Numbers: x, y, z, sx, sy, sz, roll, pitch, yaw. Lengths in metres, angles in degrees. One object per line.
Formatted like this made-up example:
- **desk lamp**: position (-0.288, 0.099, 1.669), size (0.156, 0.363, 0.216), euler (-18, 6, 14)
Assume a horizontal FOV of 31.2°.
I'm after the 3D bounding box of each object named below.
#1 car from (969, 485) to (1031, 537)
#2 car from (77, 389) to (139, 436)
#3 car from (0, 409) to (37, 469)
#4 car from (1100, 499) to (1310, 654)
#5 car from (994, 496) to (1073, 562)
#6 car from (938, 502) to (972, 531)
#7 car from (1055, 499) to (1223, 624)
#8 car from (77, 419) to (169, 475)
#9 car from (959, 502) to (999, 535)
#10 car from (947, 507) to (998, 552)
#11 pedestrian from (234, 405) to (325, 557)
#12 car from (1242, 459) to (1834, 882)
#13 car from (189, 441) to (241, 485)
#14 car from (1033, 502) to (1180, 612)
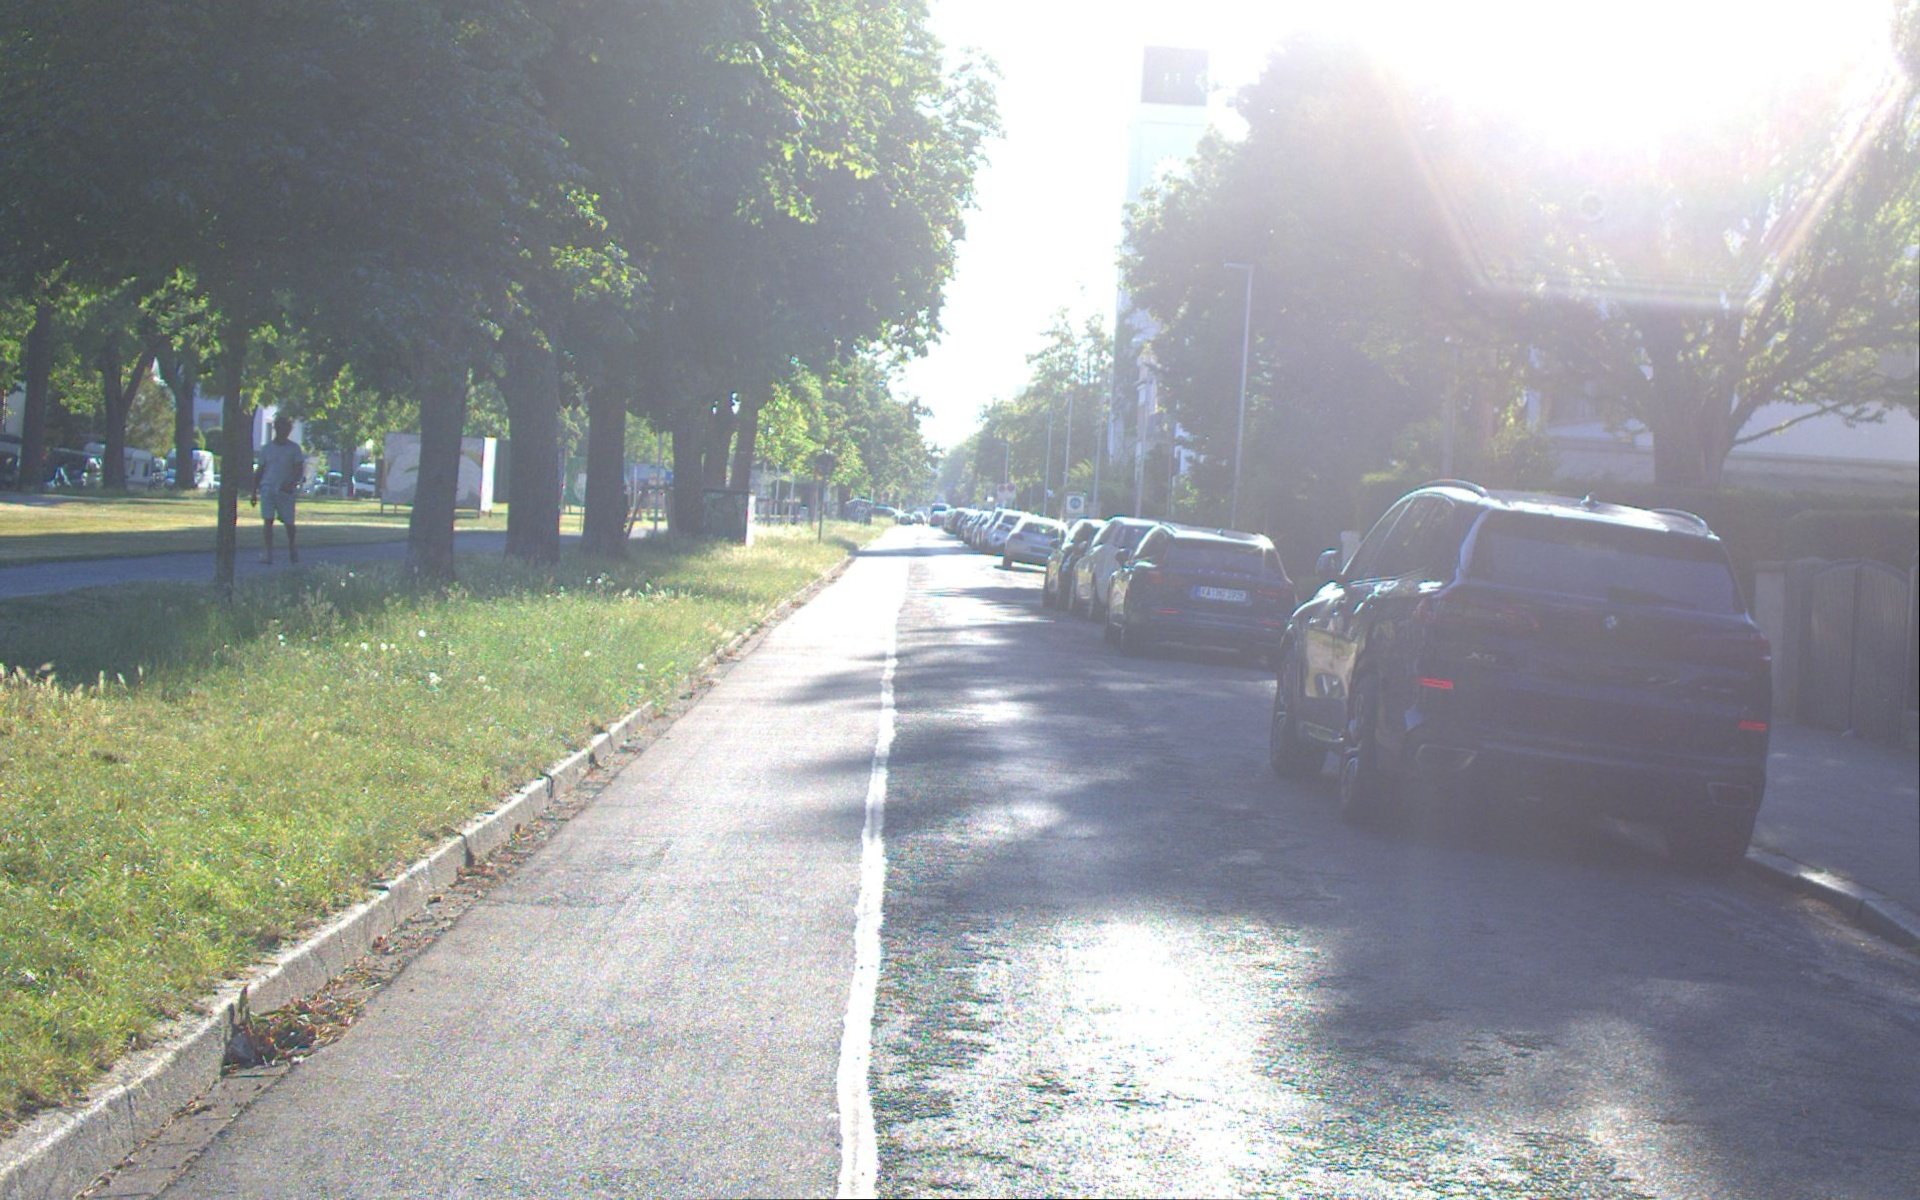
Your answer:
- **car**: position (1.304, -2.974, 114.095), size (1.758, 1.599, 4.359), euler (3, 2, -2)
- **car**: position (-42.312, -9.303, 170.804), size (1.993, 2.006, 4.485), euler (-4, 1, -3)
- **car**: position (-35.738, -5.998, 127.559), size (1.685, 2.168, 4.315), euler (4, 2, 0)
- **car**: position (2.654, -0.297, 38.199), size (1.793, 1.487, 4.675), euler (4, 1, -1)
- **car**: position (1.918, -1.885, 90.765), size (1.757, 1.415, 4.072), euler (9, 1, 0)
- **car**: position (-0.317, -5.258, 215.864), size (1.980, 1.677, 4.000), euler (3, 1, 0)
- **car**: position (2.474, -0.580, 48.496), size (1.691, 1.478, 3.930), euler (7, 1, -5)
- **car**: position (-35.562, -6.488, 146.250), size (2.534, 2.228, 5.459), euler (3, 2, 0)
- **car**: position (1.023, -4.304, 181.345), size (1.993, 1.624, 4.000), euler (3, 1, 0)
- **car**: position (0.479, -2.775, 134.538), size (1.758, 1.599, 4.359), euler (3, 2, -2)
- **pedestrian**: position (-8.092, -1.415, 40.905), size (0.724, 1.751, 0.993), euler (4, 2, 6)
- **car**: position (2.899, 0.256, 18.480), size (1.993, 1.731, 4.865), euler (8, 1, -2)
- **car**: position (-42.312, -7.763, 195.292), size (1.993, 2.401, 4.363), euler (1, 1, 0)
- **car**: position (2.234, -0.707, 53.505), size (1.748, 1.471, 4.289), euler (5, 2, -3)
